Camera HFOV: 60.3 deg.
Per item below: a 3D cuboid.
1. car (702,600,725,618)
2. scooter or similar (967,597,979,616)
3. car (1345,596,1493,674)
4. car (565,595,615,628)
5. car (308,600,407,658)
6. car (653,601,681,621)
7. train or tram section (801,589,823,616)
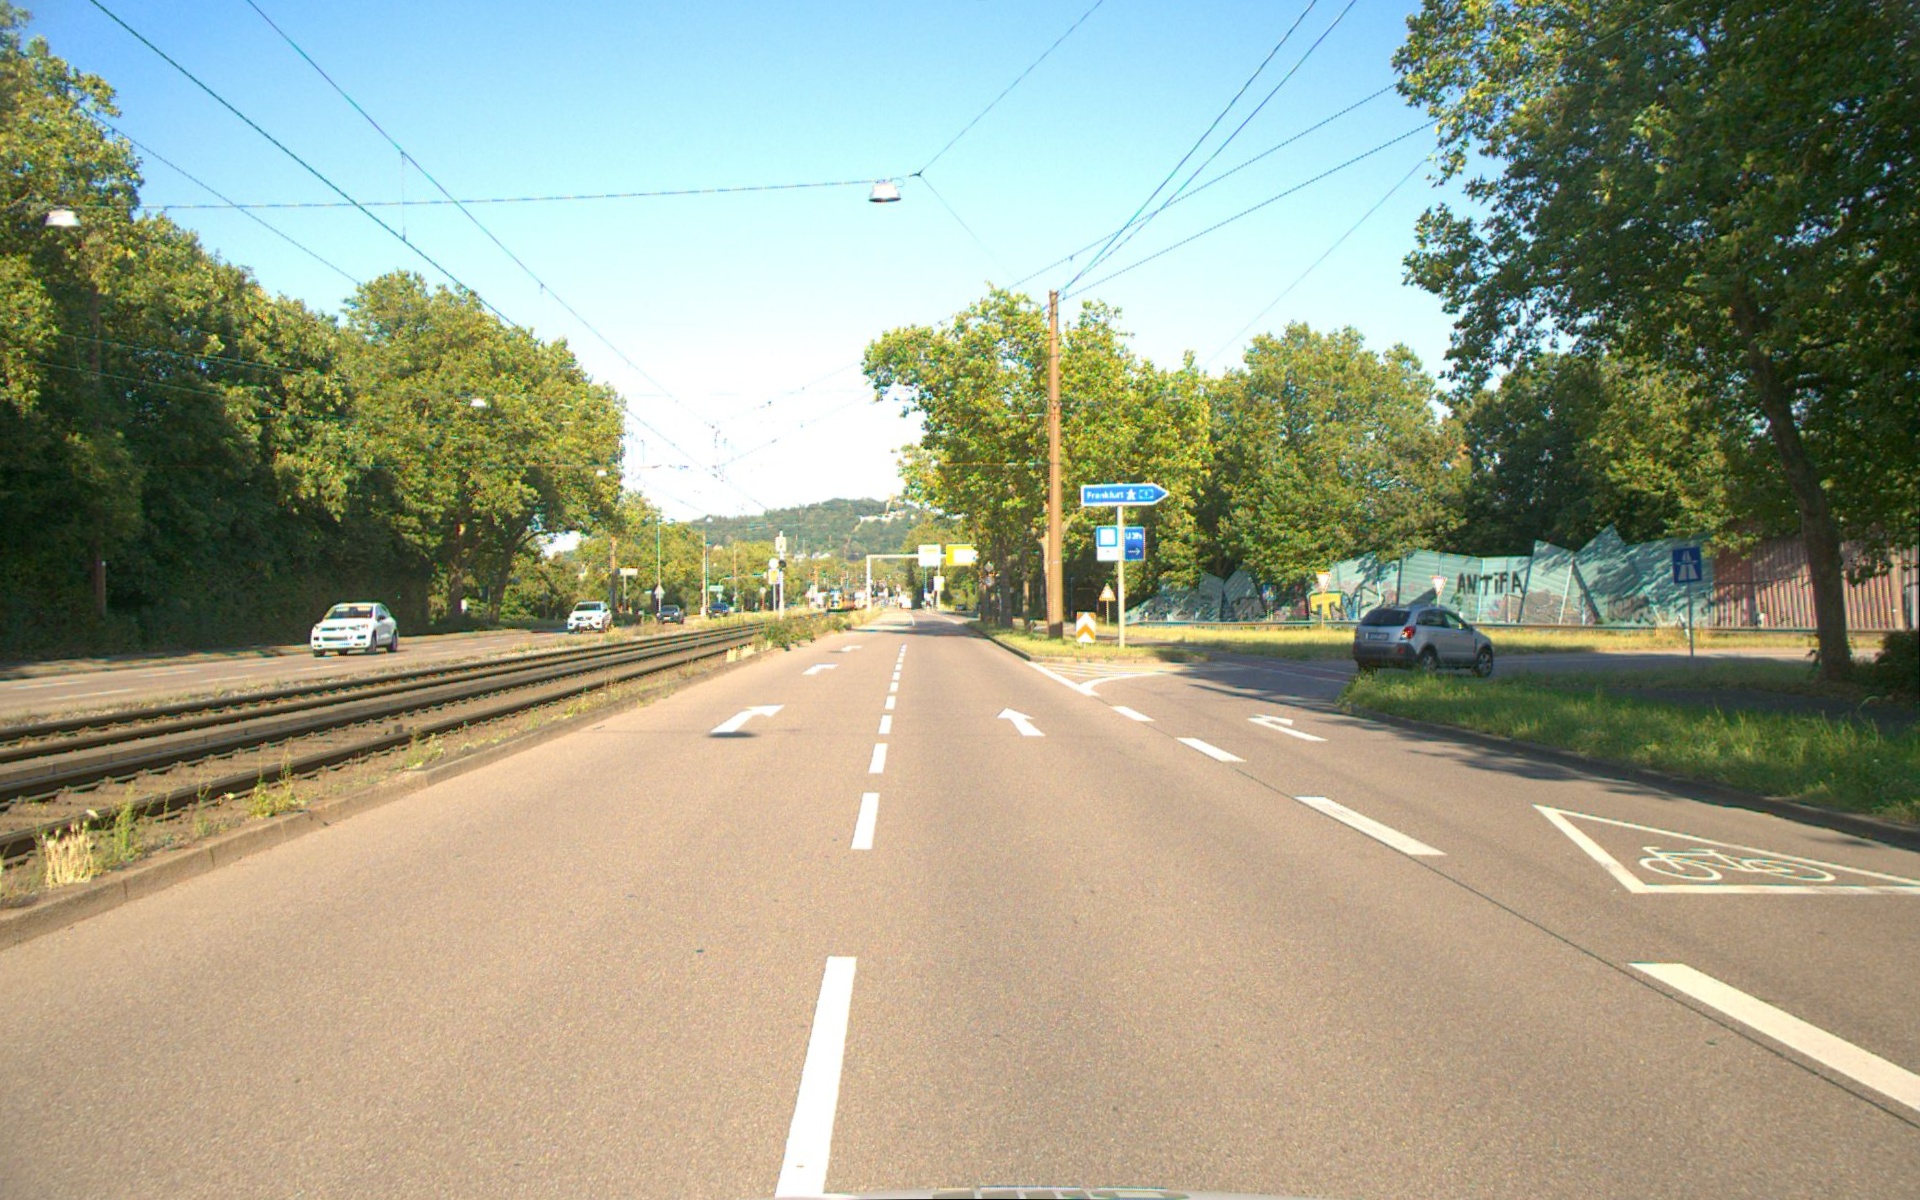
[{"bbox_3d":[-24.910,0.927,167.256,1.861,1.724,4.937,-2,0,-4],"label":"car"},{"bbox_3d":[1.955,0.966,250.824,1.647,2.763,4.867,0,0,-2],"label":"scooter or similar"},{"bbox_3d":[11.255,0.842,40.486,3.831,1.804,1.786,1,-1,-43],"label":"car"},{"bbox_3d":[-20.795,0.666,93.124,1.924,1.737,4.940,-2,0,-4],"label":"car"},{"bbox_3d":[-20.153,0.956,55.535,1.810,1.764,4.926,-3,0,-5],"label":"car"},{"bbox_3d":[-23.106,0.875,130.451,1.677,1.493,4.344,-3,0,-4],"label":"car"},{"bbox_3d":[-22.064,0.392,246.760,2.748,3.971,12.325,1,0,-3],"label":"train or tram section"}]
